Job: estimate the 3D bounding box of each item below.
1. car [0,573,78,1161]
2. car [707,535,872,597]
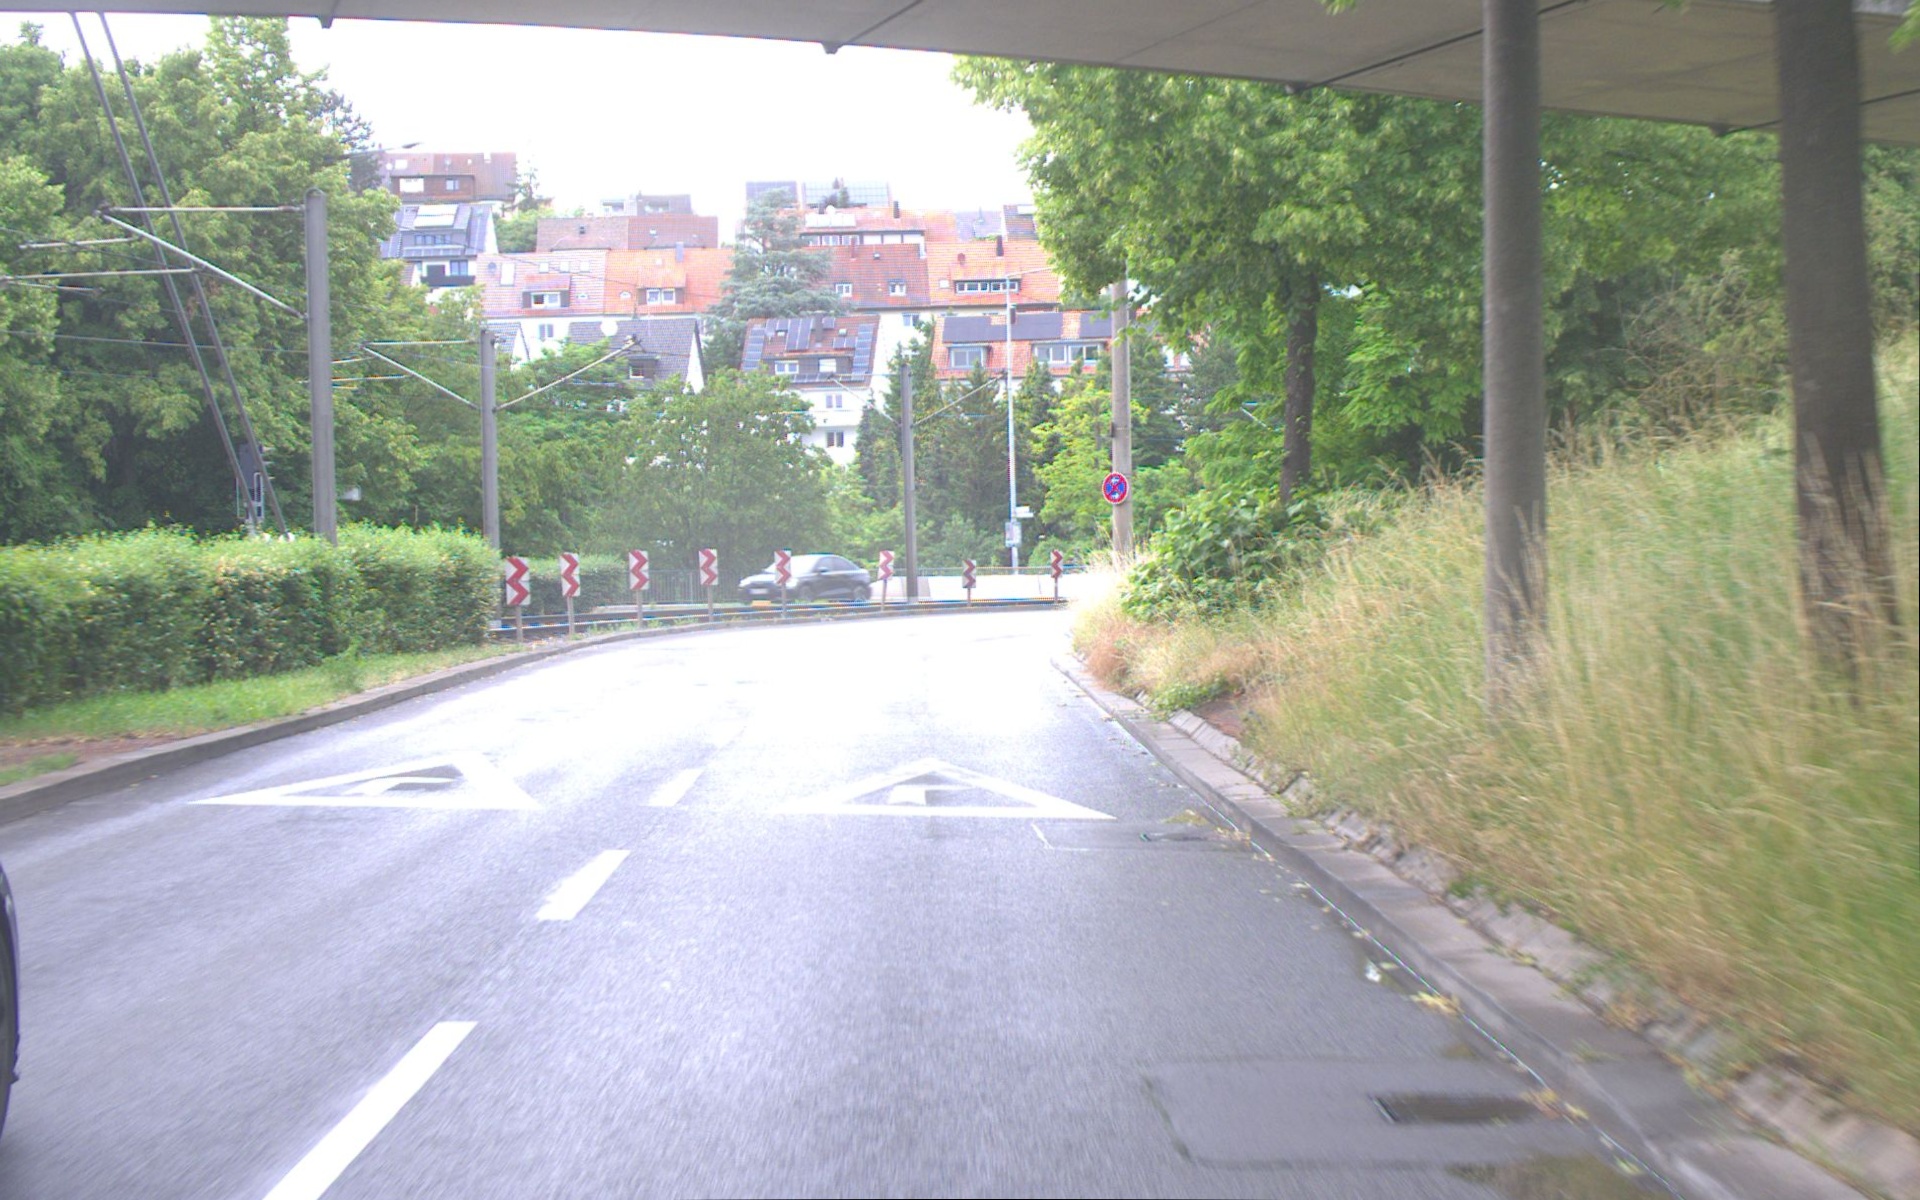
[{"bbox_3d":[-3.147,0.646,6.576,1.808,1.374,4.347,1,1,0],"label":"car"},{"bbox_3d":[-4.377,-0.891,88.851,1.998,1.404,3.991,-1,2,41],"label":"car"}]
